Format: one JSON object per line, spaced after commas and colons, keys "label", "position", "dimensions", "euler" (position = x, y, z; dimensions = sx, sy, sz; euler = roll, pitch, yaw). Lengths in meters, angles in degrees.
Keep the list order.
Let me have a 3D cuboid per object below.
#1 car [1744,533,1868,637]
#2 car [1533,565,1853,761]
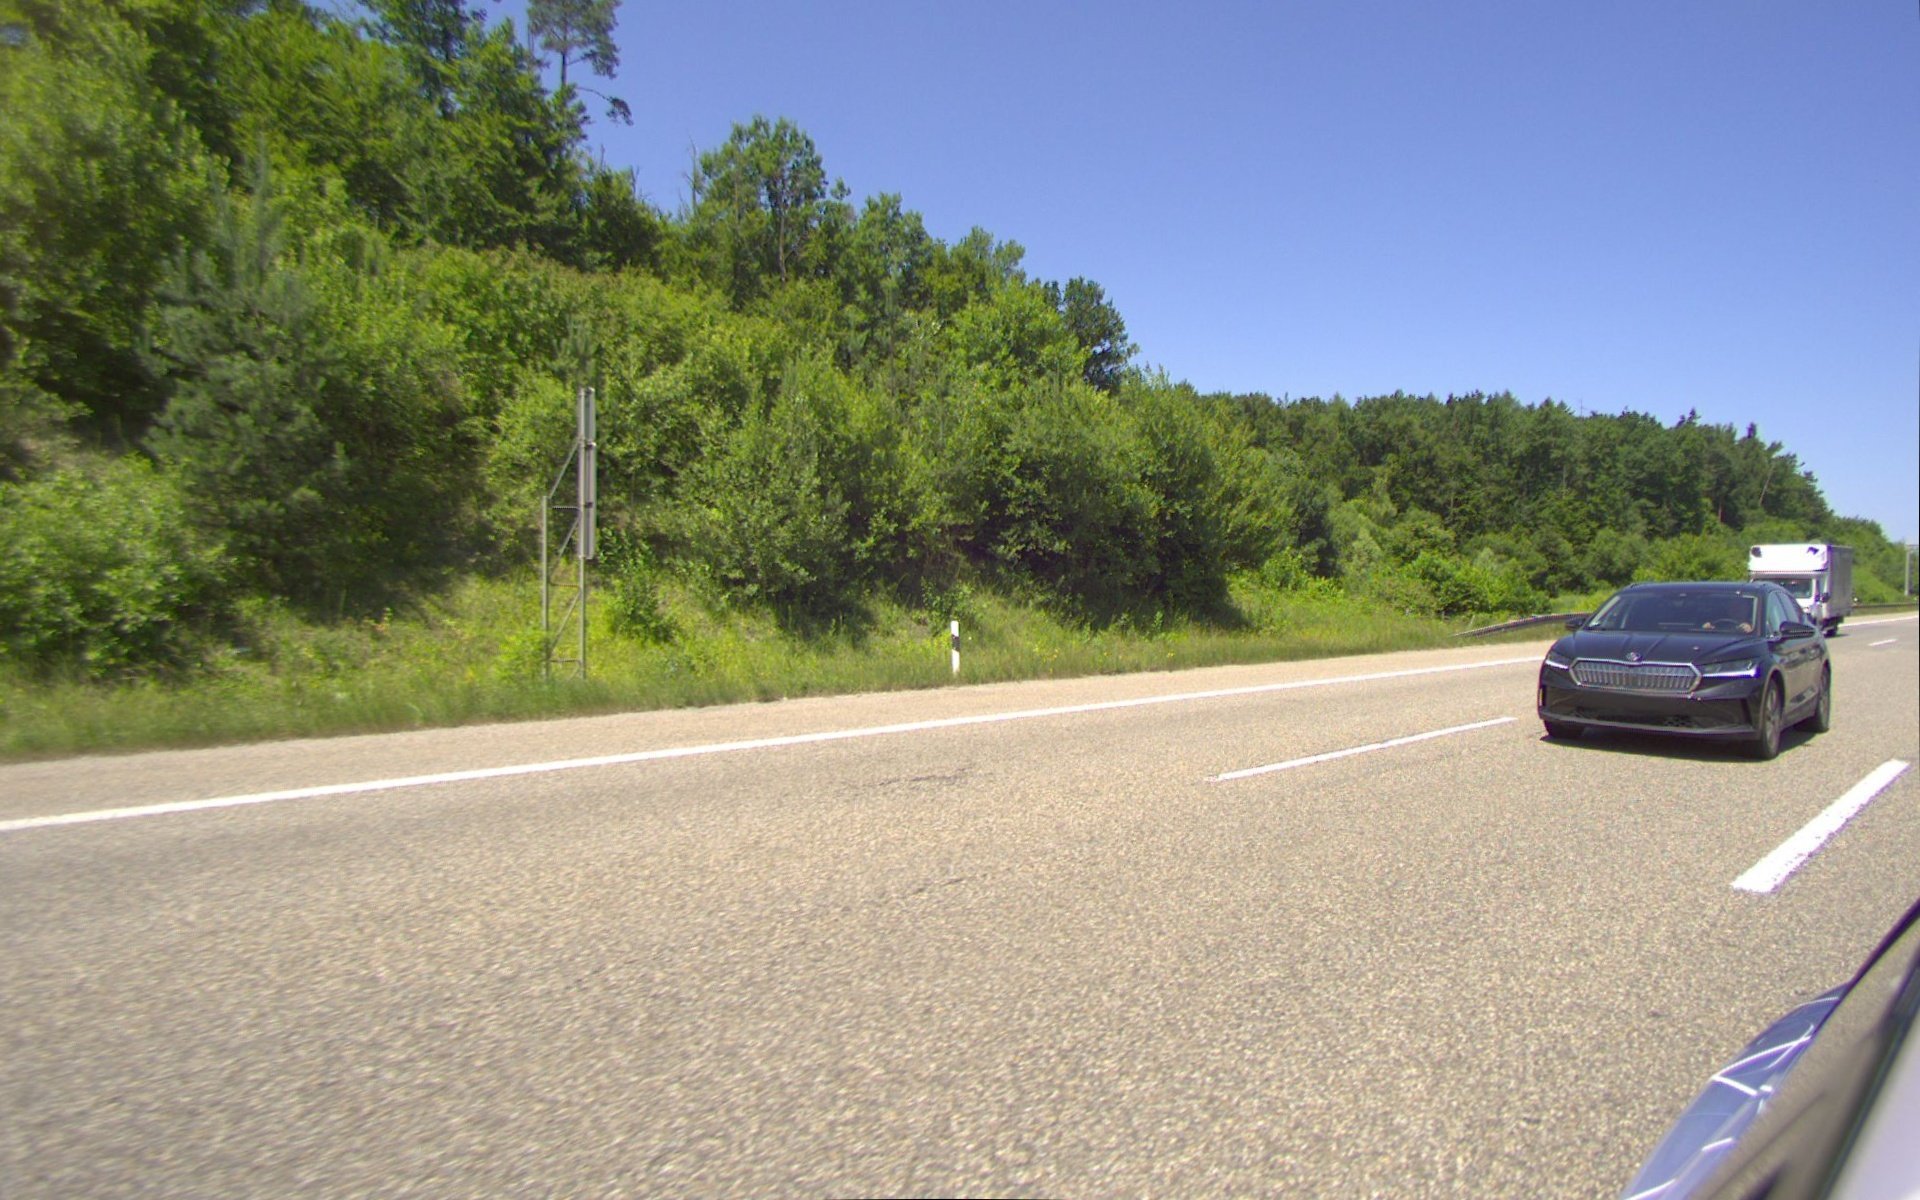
{"label": "car", "position": [30.477, -0.534, 36.335], "dimensions": [7.490, 3.378, 2.301], "euler": [-1, 0, -41]}
{"label": "car", "position": [7.903, 0.486, 10.742], "dimensions": [4.383, 1.639, 1.987], "euler": [-1, 1, -43]}
